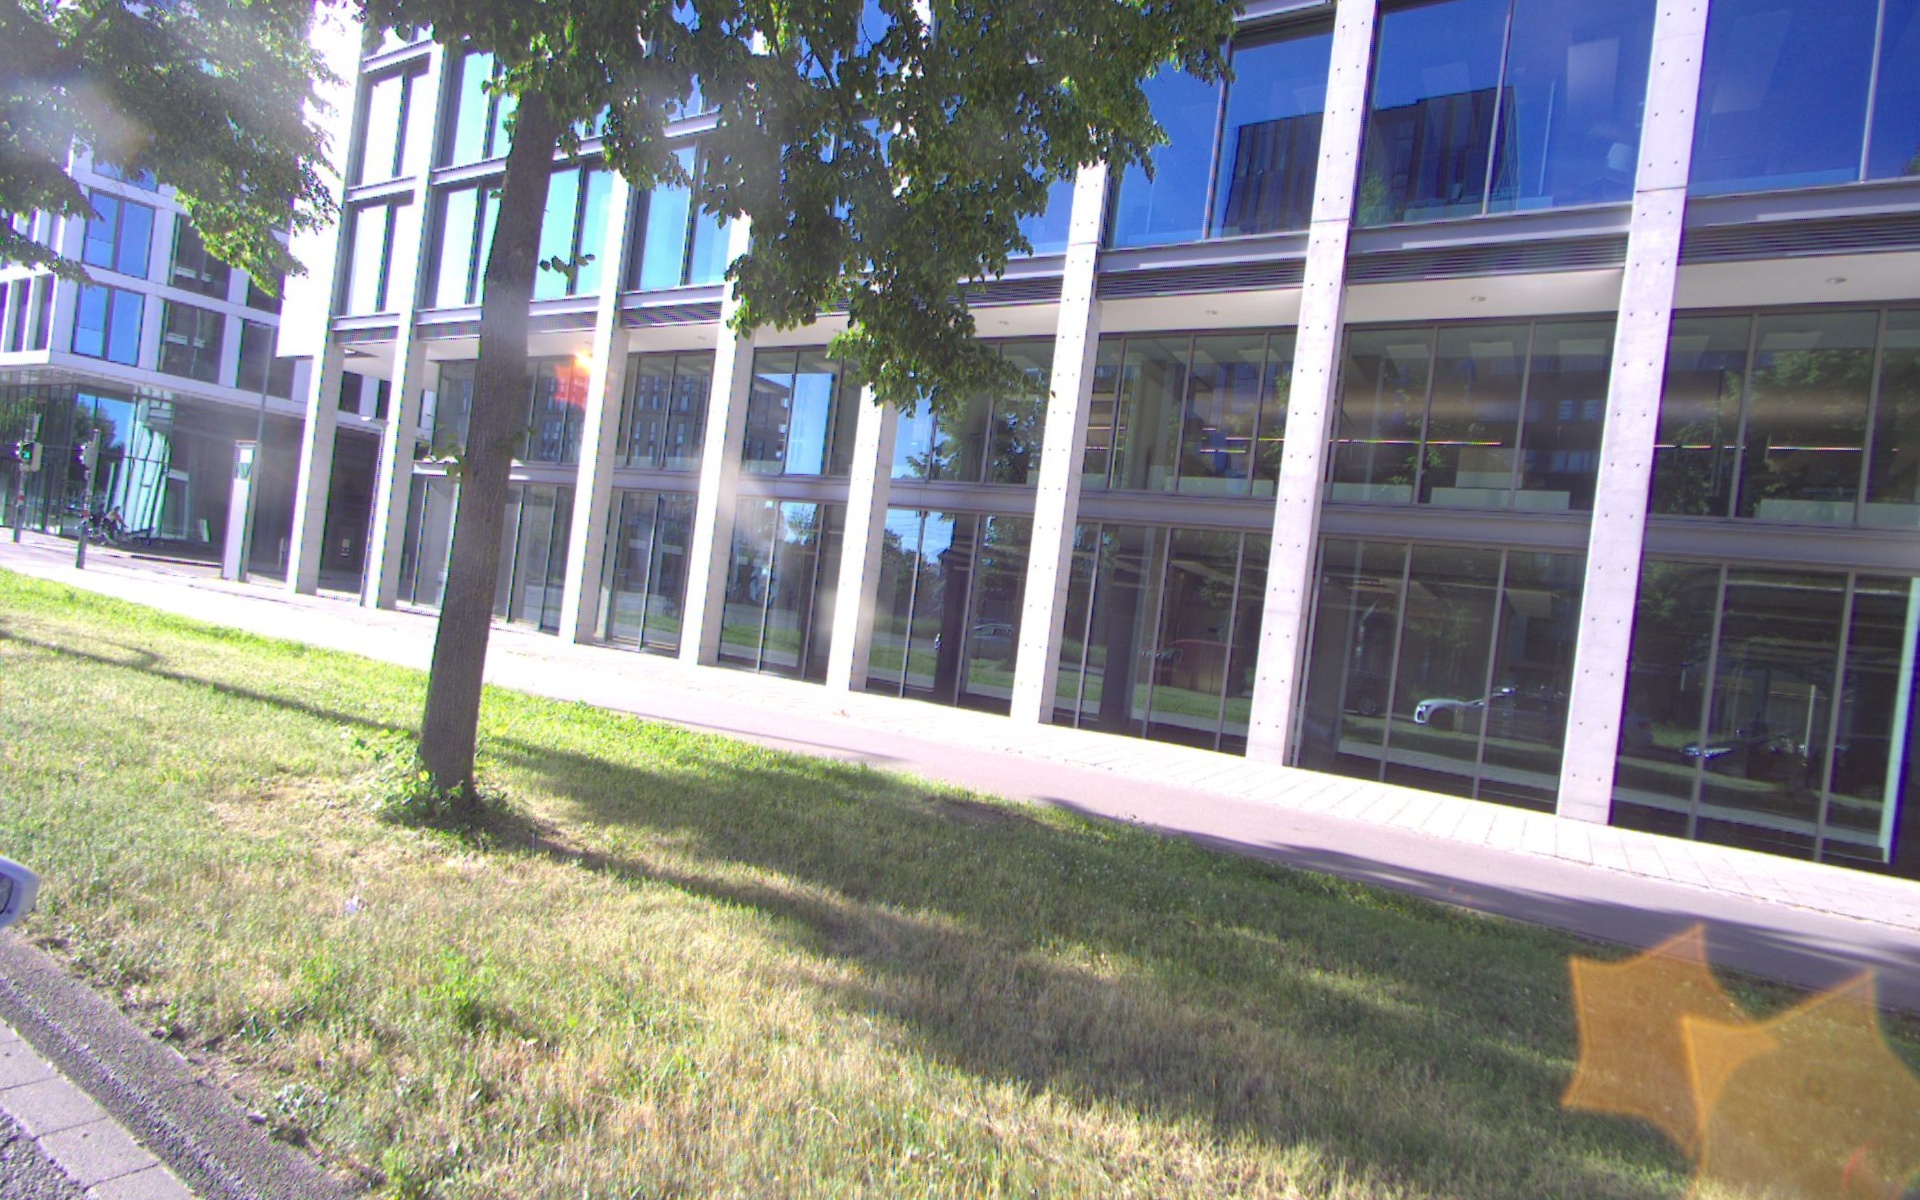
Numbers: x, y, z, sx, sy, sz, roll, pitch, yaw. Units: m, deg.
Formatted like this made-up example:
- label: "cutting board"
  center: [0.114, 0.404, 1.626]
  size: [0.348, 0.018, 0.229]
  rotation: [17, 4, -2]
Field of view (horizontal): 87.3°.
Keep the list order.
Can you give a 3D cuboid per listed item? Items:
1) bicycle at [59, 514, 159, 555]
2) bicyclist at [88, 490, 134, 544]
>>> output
- label: "bicycle"
  center: [-34.389, -2.619, 40.702]
  size: [2.907, 1.204, 0.815]
  rotation: [8, 0, -17]
- label: "bicyclist"
  center: [-34.322, -3.342, 40.694]
  size: [0.987, 1.970, 0.815]
  rotation: [7, 0, -16]
